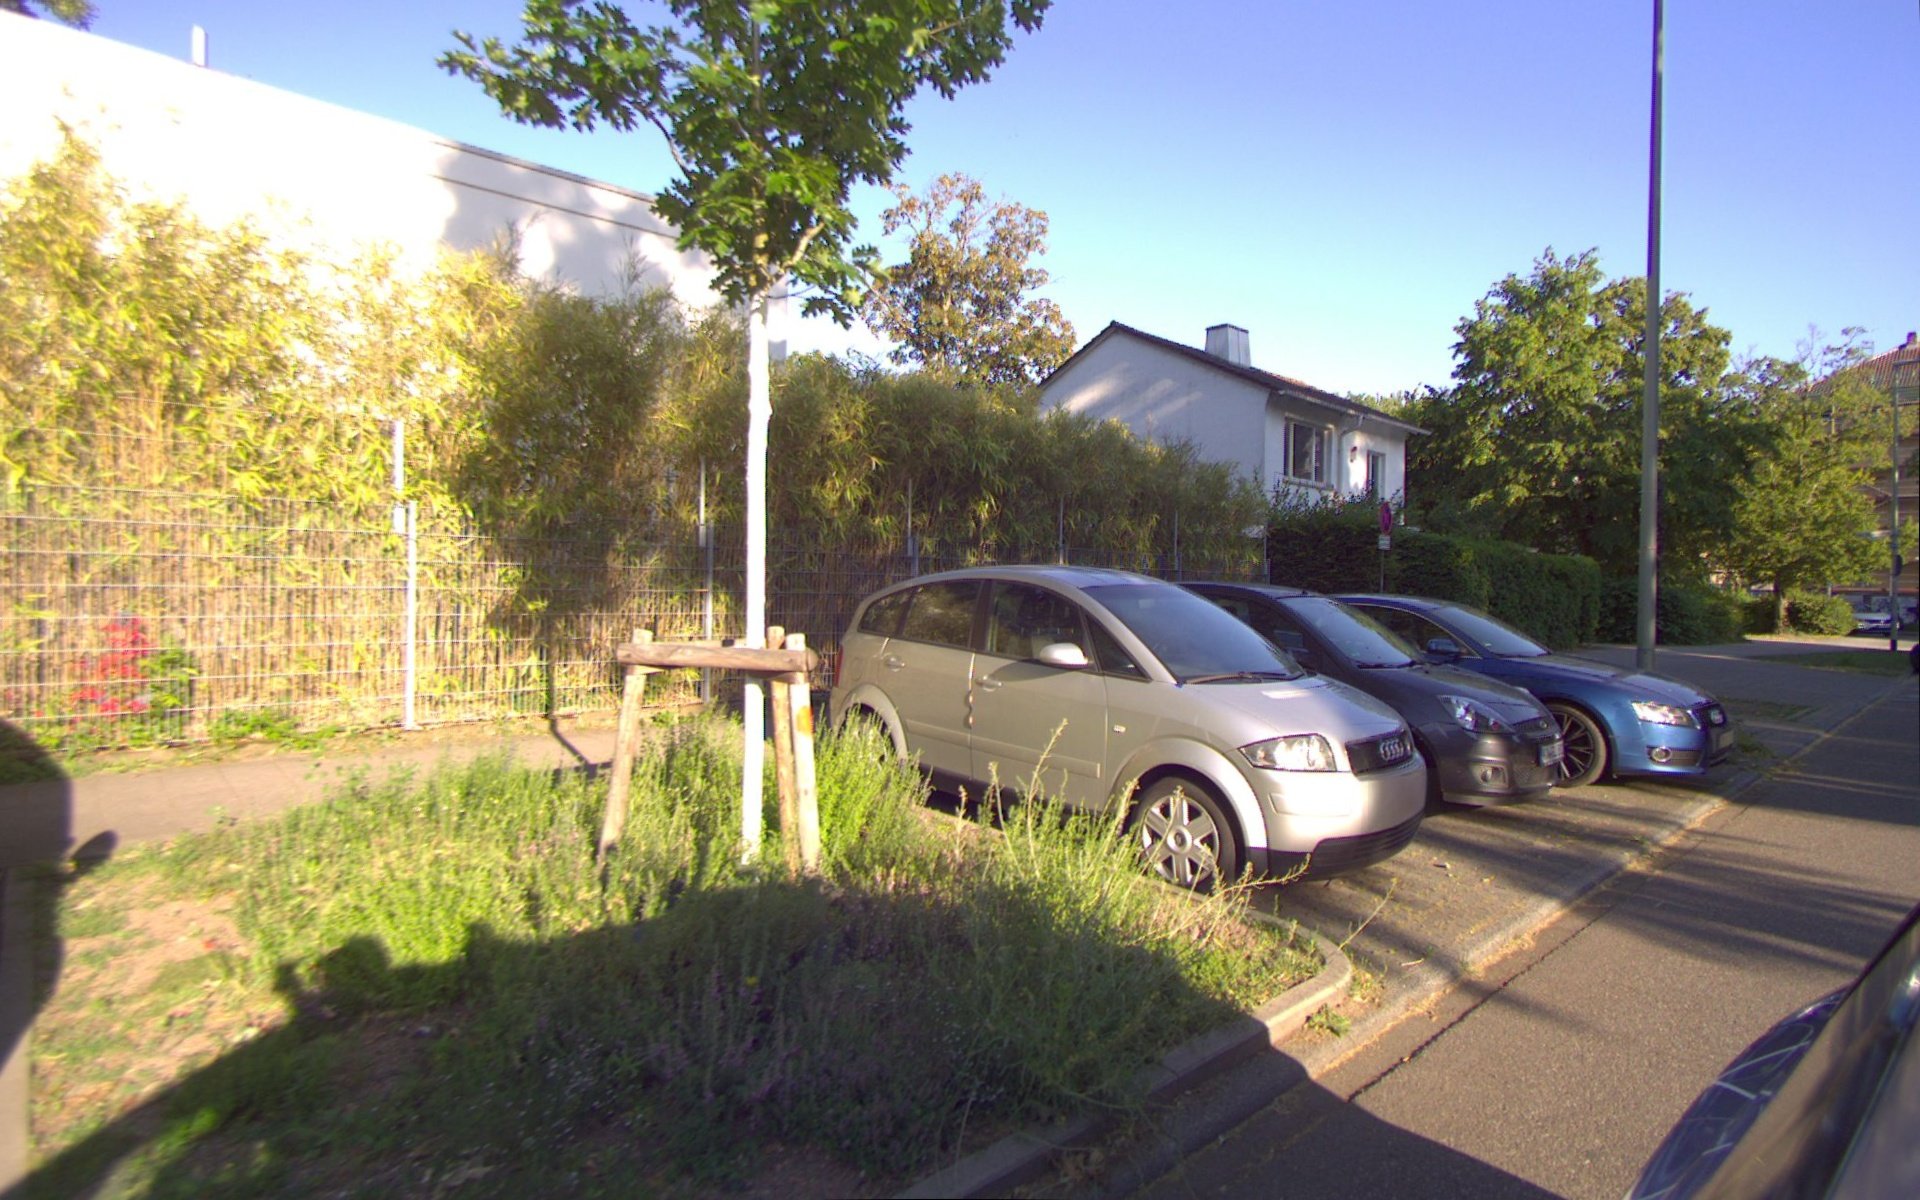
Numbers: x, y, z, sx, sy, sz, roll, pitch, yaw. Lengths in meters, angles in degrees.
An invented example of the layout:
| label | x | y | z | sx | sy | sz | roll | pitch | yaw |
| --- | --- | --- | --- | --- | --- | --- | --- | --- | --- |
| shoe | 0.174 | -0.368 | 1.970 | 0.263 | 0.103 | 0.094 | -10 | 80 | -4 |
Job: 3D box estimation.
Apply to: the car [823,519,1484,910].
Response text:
| label | x | y | z | sx | sy | sz | roll | pitch | yaw |
| --- | --- | --- | --- | --- | --- | --- | --- | --- | --- |
| car | 0.946 | 0.431 | 6.010 | 3.495 | 1.604 | 1.734 | 2 | 1 | 45 |

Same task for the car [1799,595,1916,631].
| label | x | y | z | sx | sy | sz | roll | pitch | yaw |
| --- | --- | --- | --- | --- | --- | --- | --- | --- | --- |
| car | 40.845 | 0.568 | 46.246 | 1.743 | 1.486 | 4.849 | 1 | 1 | 11 |

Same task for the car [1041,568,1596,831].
| label | x | y | z | sx | sy | sz | roll | pitch | yaw |
| --- | --- | --- | --- | --- | --- | --- | --- | --- | --- |
| car | 2.610 | 0.543 | 7.876 | 3.682 | 1.543 | 1.763 | 2 | 1 | 45 |

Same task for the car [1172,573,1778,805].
| label | x | y | z | sx | sy | sz | roll | pitch | yaw |
| --- | --- | --- | --- | --- | --- | --- | --- | --- | --- |
| car | 4.411 | 0.551 | 9.342 | 1.889 | 1.432 | 4.599 | -1 | 4 | -41 |
